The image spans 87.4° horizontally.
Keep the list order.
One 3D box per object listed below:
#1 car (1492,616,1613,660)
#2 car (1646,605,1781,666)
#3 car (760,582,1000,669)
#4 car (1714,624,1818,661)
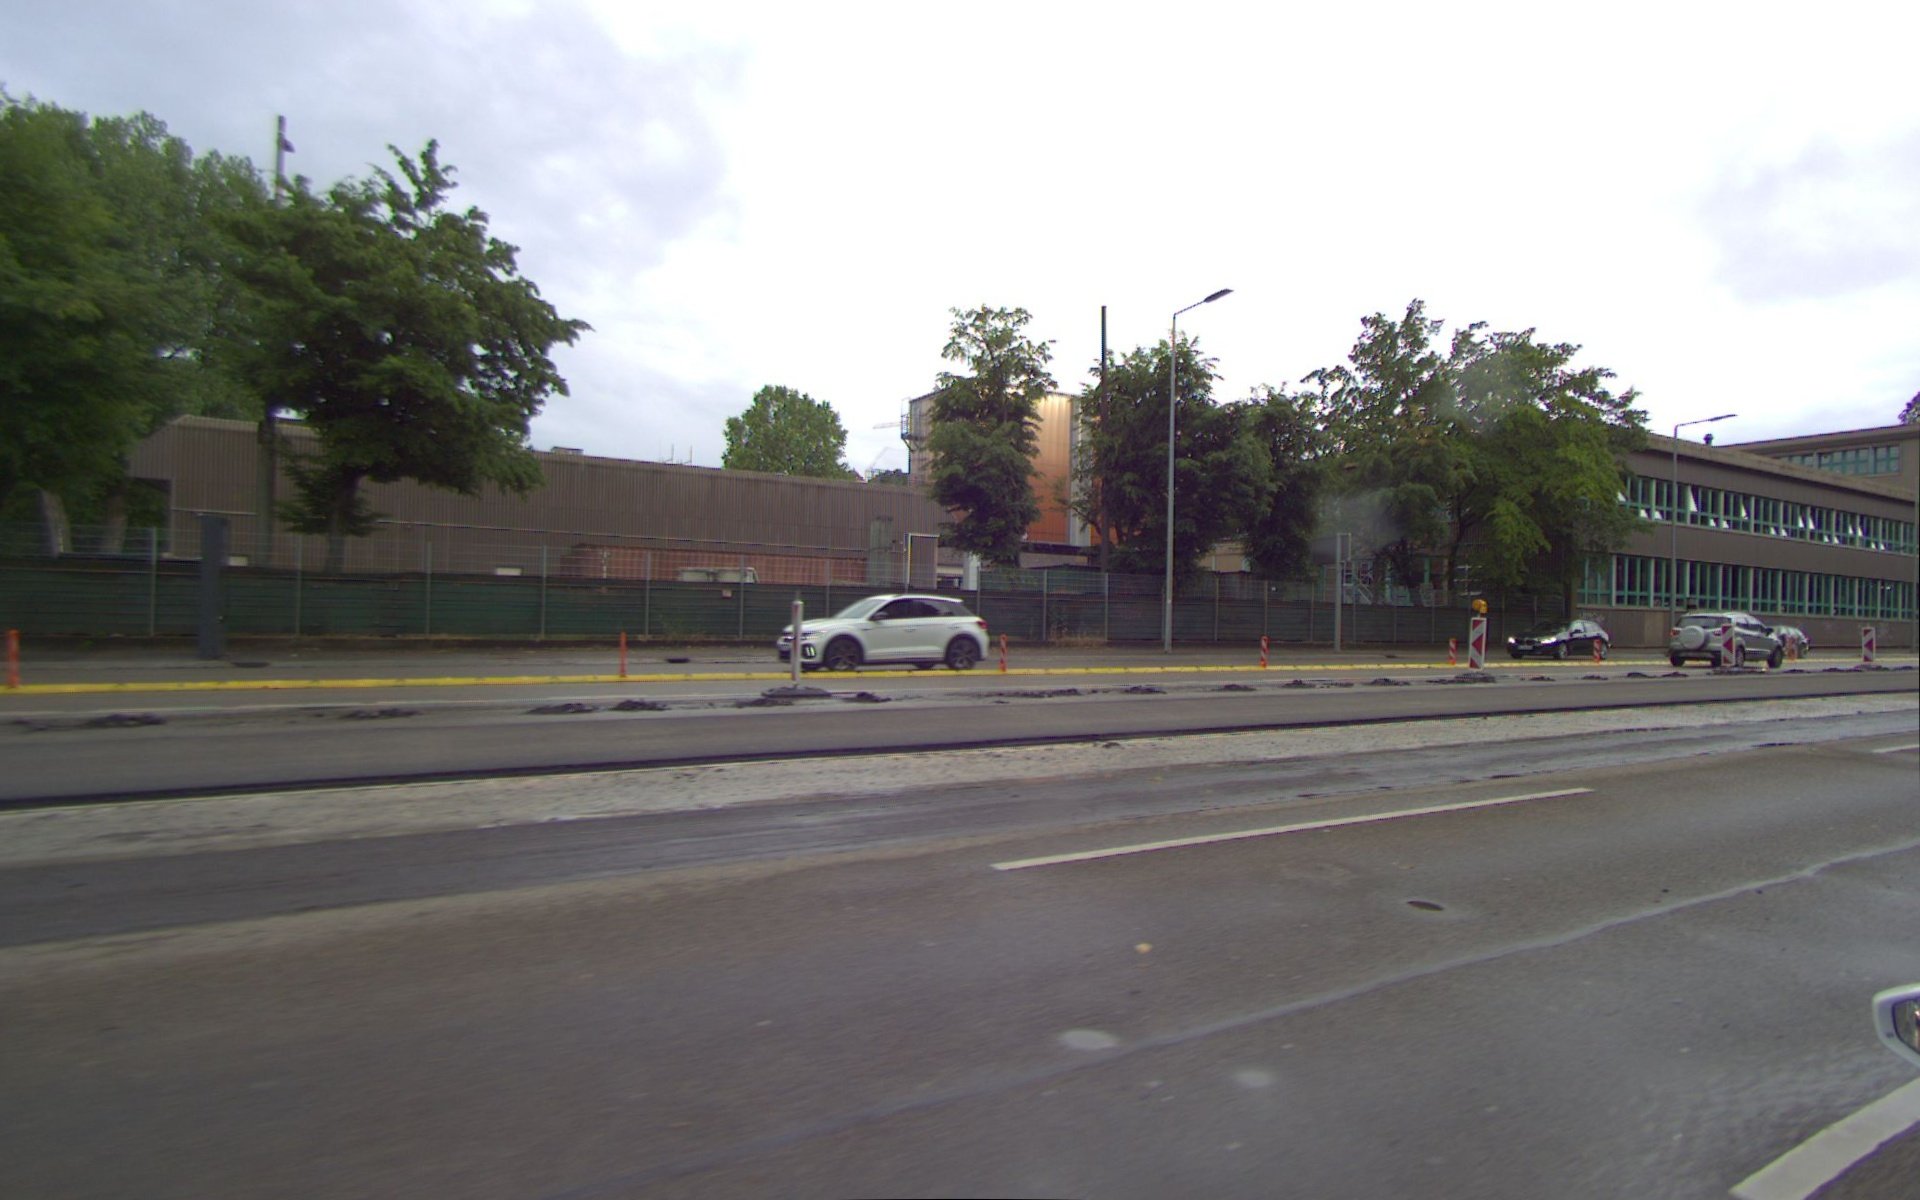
[{"bbox_3d":[21.342,1.356,36.159,4.217,1.448,1.983,1,0,-32],"label":"car"},{"bbox_3d":[22.611,1.073,30.125,3.953,1.670,1.845,2,0,-30],"label":"car"},{"bbox_3d":[-1.540,0.488,19.613,4.216,1.533,1.984,2,0,-30],"label":"car"},{"bbox_3d":[35.968,1.909,44.810,4.709,1.473,2.036,2,0,-30],"label":"car"}]
